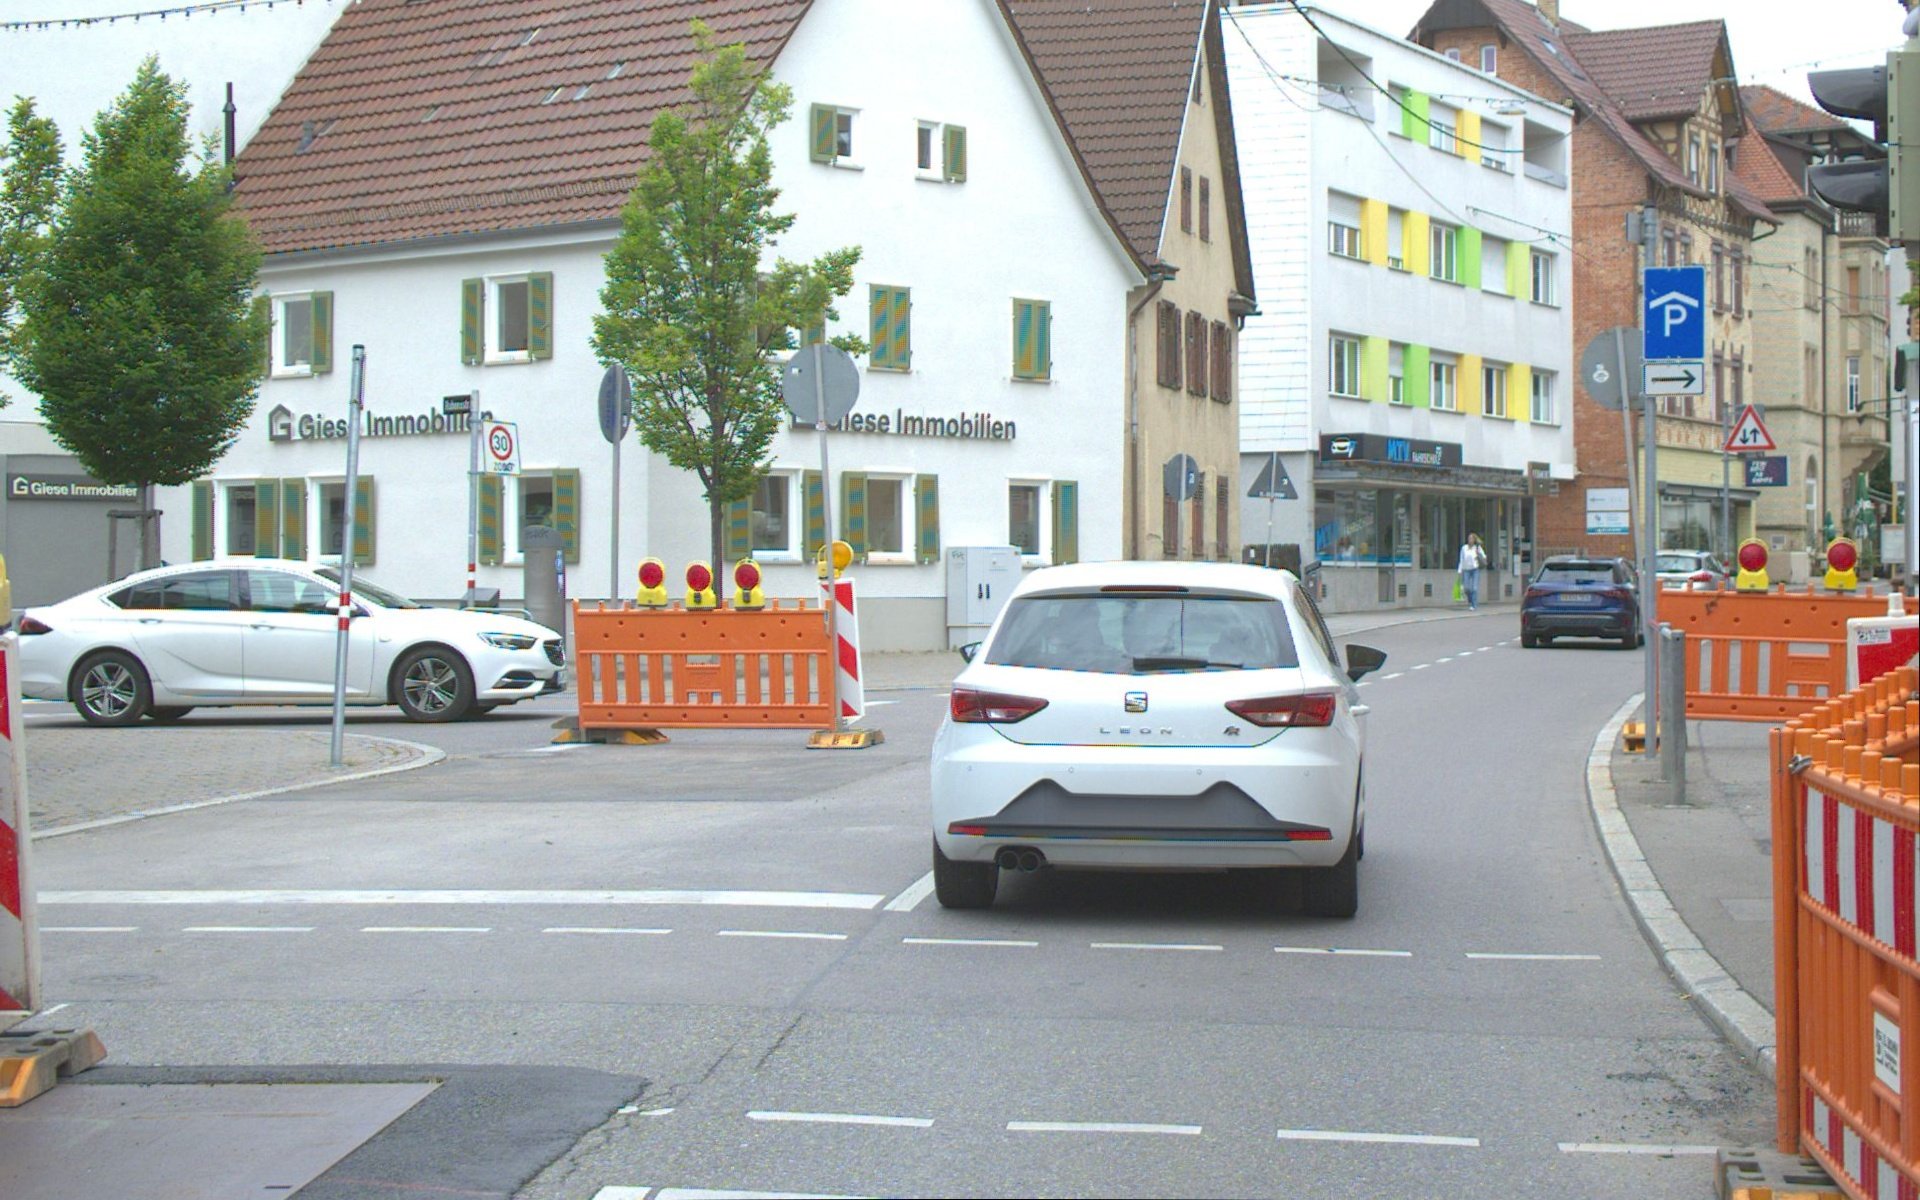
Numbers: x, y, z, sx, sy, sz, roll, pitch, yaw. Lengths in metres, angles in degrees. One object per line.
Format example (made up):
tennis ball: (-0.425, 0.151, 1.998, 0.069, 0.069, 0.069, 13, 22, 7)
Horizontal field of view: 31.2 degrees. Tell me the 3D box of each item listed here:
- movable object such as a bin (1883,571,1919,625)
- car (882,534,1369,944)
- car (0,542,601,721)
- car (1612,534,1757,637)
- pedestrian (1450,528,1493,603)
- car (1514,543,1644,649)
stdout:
movable object such as a bin: (16.336, -0.042, 59.545, 0.620, 0.918, 0.581, 0, 1, 20)
car: (0.856, 0.492, 15.160, 1.812, 1.475, 3.870, 1, 2, 7)
car: (-5.825, 0.247, 30.705, 4.903, 1.471, 2.249, 1, 1, 3)
car: (14.587, -0.317, 69.074, 1.996, 2.007, 3.995, 0, 1, 25)
pedestrian: (11.499, -0.782, 77.273, 0.893, 1.659, 0.861, 0, 1, 13)
car: (9.525, -0.085, 52.716, 1.812, 1.475, 3.869, 0, 2, 12)
